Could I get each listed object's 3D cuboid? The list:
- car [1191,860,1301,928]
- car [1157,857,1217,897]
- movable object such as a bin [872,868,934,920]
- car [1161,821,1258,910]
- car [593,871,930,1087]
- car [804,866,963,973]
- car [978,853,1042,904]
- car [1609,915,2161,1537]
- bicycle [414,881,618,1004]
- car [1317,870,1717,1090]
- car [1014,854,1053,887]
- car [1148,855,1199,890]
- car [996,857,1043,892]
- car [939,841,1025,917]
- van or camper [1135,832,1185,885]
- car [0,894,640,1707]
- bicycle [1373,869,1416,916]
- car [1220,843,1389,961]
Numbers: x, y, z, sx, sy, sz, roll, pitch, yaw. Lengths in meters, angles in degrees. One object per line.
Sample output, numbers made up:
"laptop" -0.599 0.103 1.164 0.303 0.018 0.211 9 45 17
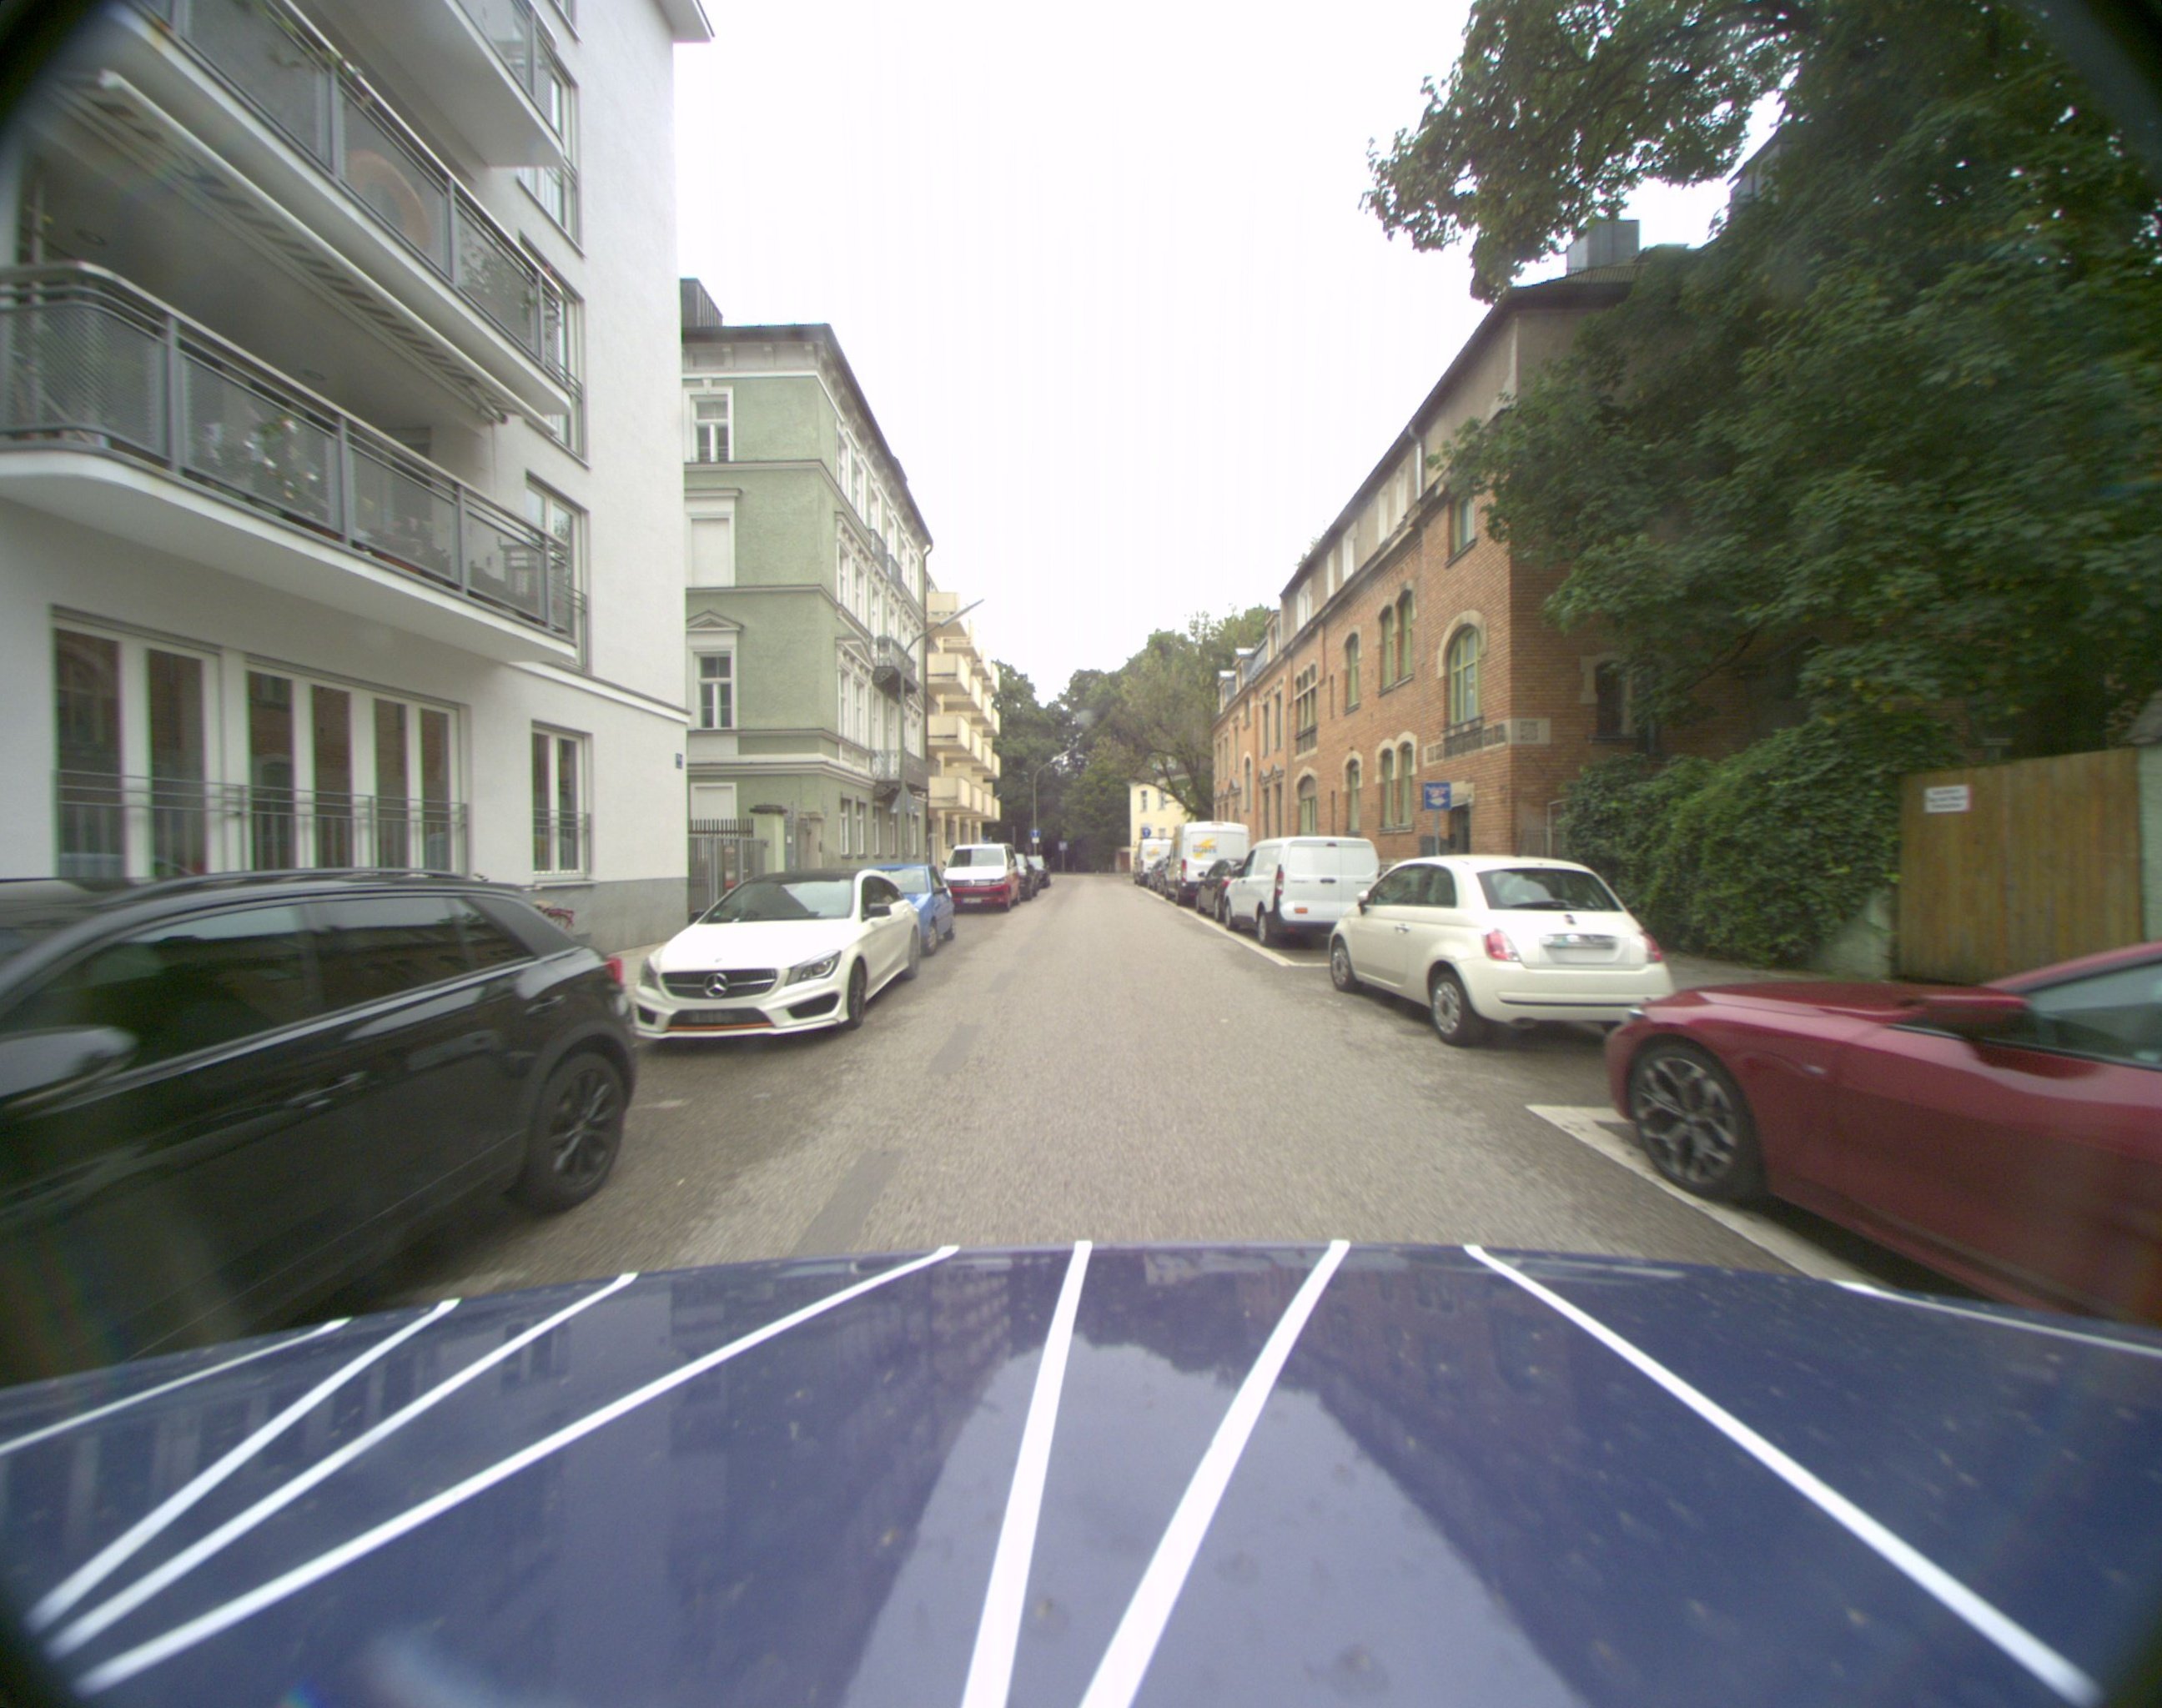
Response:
"car" 3.817 0.871 18.260 1.719 1.412 4.166 0 0 0
"car" 4.007 0.829 29.194 1.769 1.407 3.793 0 0 0
"movable object such as a bin" -4.505 0.981 19.440 1.023 1.186 2.163 1 0 1
"car" 3.859 0.338 23.825 2.117 2.461 5.231 0 0 0
"car" -2.833 0.989 7.901 1.668 1.458 4.375 -2 0 -1
"car" -3.111 0.963 12.715 1.719 1.414 3.719 -2 0 -2
"car" -2.582 0.843 28.563 1.860 1.700 4.698 -2 0 1
"car" 3.496 0.978 1.557 1.750 1.360 4.402 0 0 0
"bicycle" -6.305 0.928 8.660 0.804 1.165 1.973 -1 0 1
"car" 3.596 0.921 7.068 1.631 1.459 3.520 1 0 -1
"car" -2.425 0.824 39.898 1.771 1.607 4.263 -1 0 0
"car" 4.105 0.786 34.258 1.769 1.491 4.080 0 0 0
"car" -2.701 0.867 33.974 1.753 1.458 4.336 0 0 0
"car" -2.844 0.688 22.910 1.858 2.019 4.783 -2 0 0
"van or camper" 4.112 0.249 40.262 2.116 2.646 4.958 0 0 0
"car" -3.144 1.001 1.808 1.842 1.524 4.021 -2 0 -1
"bicycle" 7.961 0.956 19.339 0.435 1.078 1.471 -2 1 0
"car" 3.719 0.730 13.437 1.719 1.745 4.250 0 0 0
